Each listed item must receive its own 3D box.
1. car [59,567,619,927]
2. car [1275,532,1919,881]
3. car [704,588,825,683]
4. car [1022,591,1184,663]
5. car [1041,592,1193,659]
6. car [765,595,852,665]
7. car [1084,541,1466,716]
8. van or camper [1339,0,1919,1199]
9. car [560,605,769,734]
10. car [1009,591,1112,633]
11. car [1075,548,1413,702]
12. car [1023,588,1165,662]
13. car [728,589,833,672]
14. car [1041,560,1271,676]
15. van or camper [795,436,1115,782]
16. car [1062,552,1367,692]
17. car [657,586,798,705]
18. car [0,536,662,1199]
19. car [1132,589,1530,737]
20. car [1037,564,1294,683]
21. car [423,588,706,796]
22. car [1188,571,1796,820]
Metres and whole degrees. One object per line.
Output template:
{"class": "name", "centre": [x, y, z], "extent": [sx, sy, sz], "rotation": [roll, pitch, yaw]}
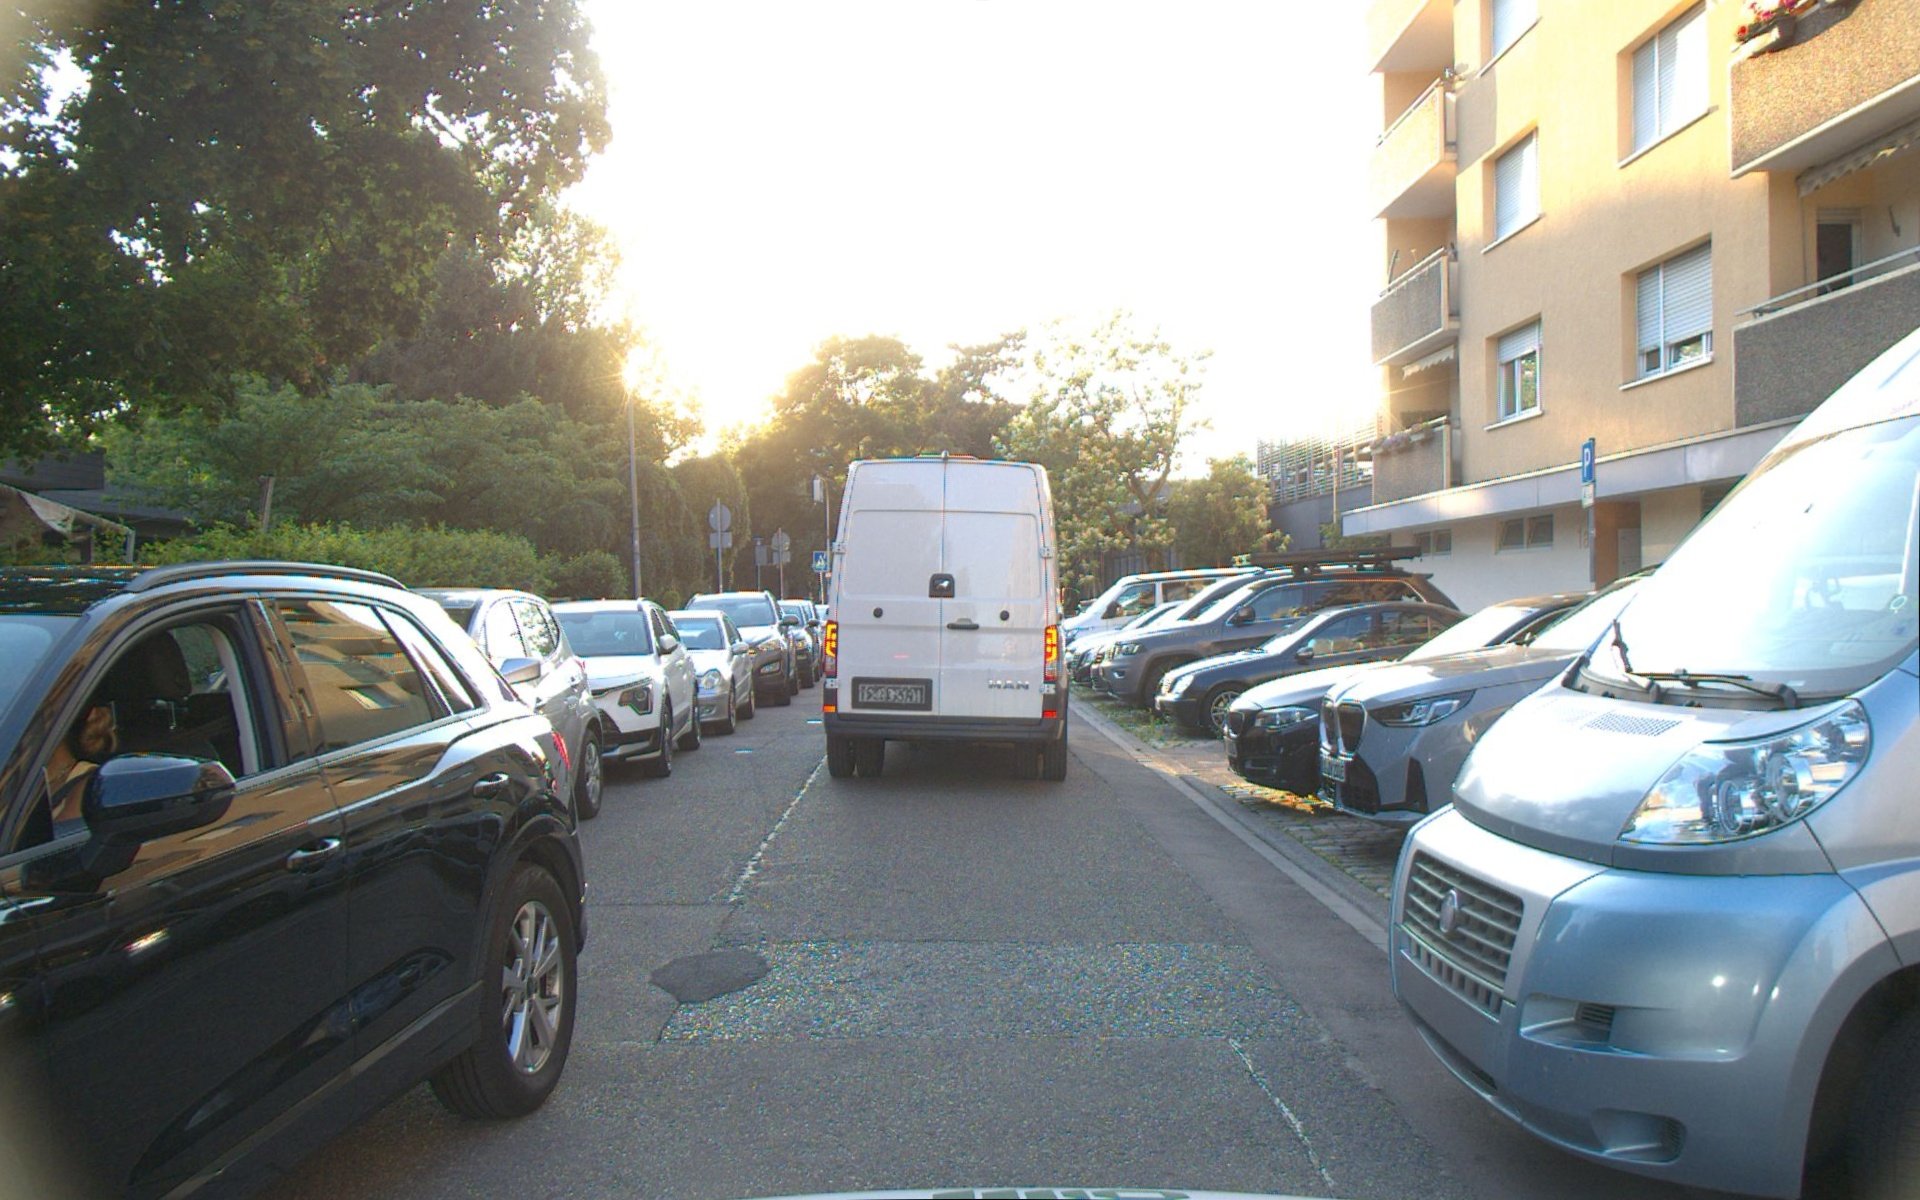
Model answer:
{"class": "car", "centre": [-3.429, 0.711, 10.030], "extent": [1.746, 1.659, 4.000], "rotation": [-3, 0, 1]}
{"class": "car", "centre": [4.291, 0.533, 9.936], "extent": [4.350, 1.758, 1.770], "rotation": [-2, 0, -8]}
{"class": "car", "centre": [-3.562, 0.618, 30.785], "extent": [1.954, 1.646, 3.998], "rotation": [0, 0, -3]}
{"class": "car", "centre": [3.544, 0.658, 41.568], "extent": [3.905, 1.758, 2.000], "rotation": [0, 0, -1]}
{"class": "car", "centre": [4.196, 0.663, 44.619], "extent": [3.905, 1.758, 2.000], "rotation": [0, 0, -1]}
{"class": "car", "centre": [-3.677, 0.705, 40.815], "extent": [1.954, 1.646, 3.998], "rotation": [0, 0, -3]}
{"class": "car", "centre": [4.029, 0.356, 21.719], "extent": [4.611, 2.183, 1.999], "rotation": [0, 0, -3]}
{"class": "van or camper", "centre": [4.175, 0.034, 4.478], "extent": [5.809, 2.818, 2.109], "rotation": [0, 0, -2]}
{"class": "car", "centre": [-3.516, 0.780, 20.429], "extent": [1.953, 1.422, 3.999], "rotation": [0, 0, -1]}
{"class": "car", "centre": [4.042, 0.483, 66.892], "extent": [3.909, 1.646, 1.998], "rotation": [0, 0, -5]}
{"class": "car", "centre": [4.108, 0.350, 24.421], "extent": [4.611, 2.183, 1.999], "rotation": [0, 0, -3]}
{"class": "car", "centre": [3.757, 0.687, 46.931], "extent": [3.905, 2.049, 2.000], "rotation": [0, 0, 0]}
{"class": "car", "centre": [-3.745, 0.605, 35.094], "extent": [1.954, 1.646, 3.998], "rotation": [0, 0, -3]}
{"class": "car", "centre": [3.929, 0.357, 33.709], "extent": [4.405, 2.269, 2.031], "rotation": [0, 0, -2]}
{"class": "van or camper", "centre": [0.063, 0.060, 15.676], "extent": [2.403, 2.591, 6.084], "rotation": [1, 0, 2]}
{"class": "car", "centre": [4.053, 0.343, 26.848], "extent": [4.611, 2.183, 1.999], "rotation": [0, 0, -3]}
{"class": "car", "centre": [-3.504, 0.635, 25.579], "extent": [1.955, 1.691, 3.996], "rotation": [0, 0, -5]}
{"class": "car", "centre": [-2.177, 0.723, 3.554], "extent": [1.766, 1.597, 4.568], "rotation": [-1, 0, 6]}
{"class": "car", "centre": [4.184, 0.691, 19.097], "extent": [4.151, 1.450, 1.719], "rotation": [-2, 0, -2]}
{"class": "car", "centre": [3.847, 0.426, 31.522], "extent": [4.611, 2.183, 1.999], "rotation": [0, 0, -3]}
{"class": "car", "centre": [-3.467, 0.727, 15.258], "extent": [1.819, 1.582, 4.096], "rotation": [-2, 0, -4]}
{"class": "car", "centre": [3.881, 0.650, 12.483], "extent": [3.910, 1.479, 1.833], "rotation": [-4, 0, -5]}
